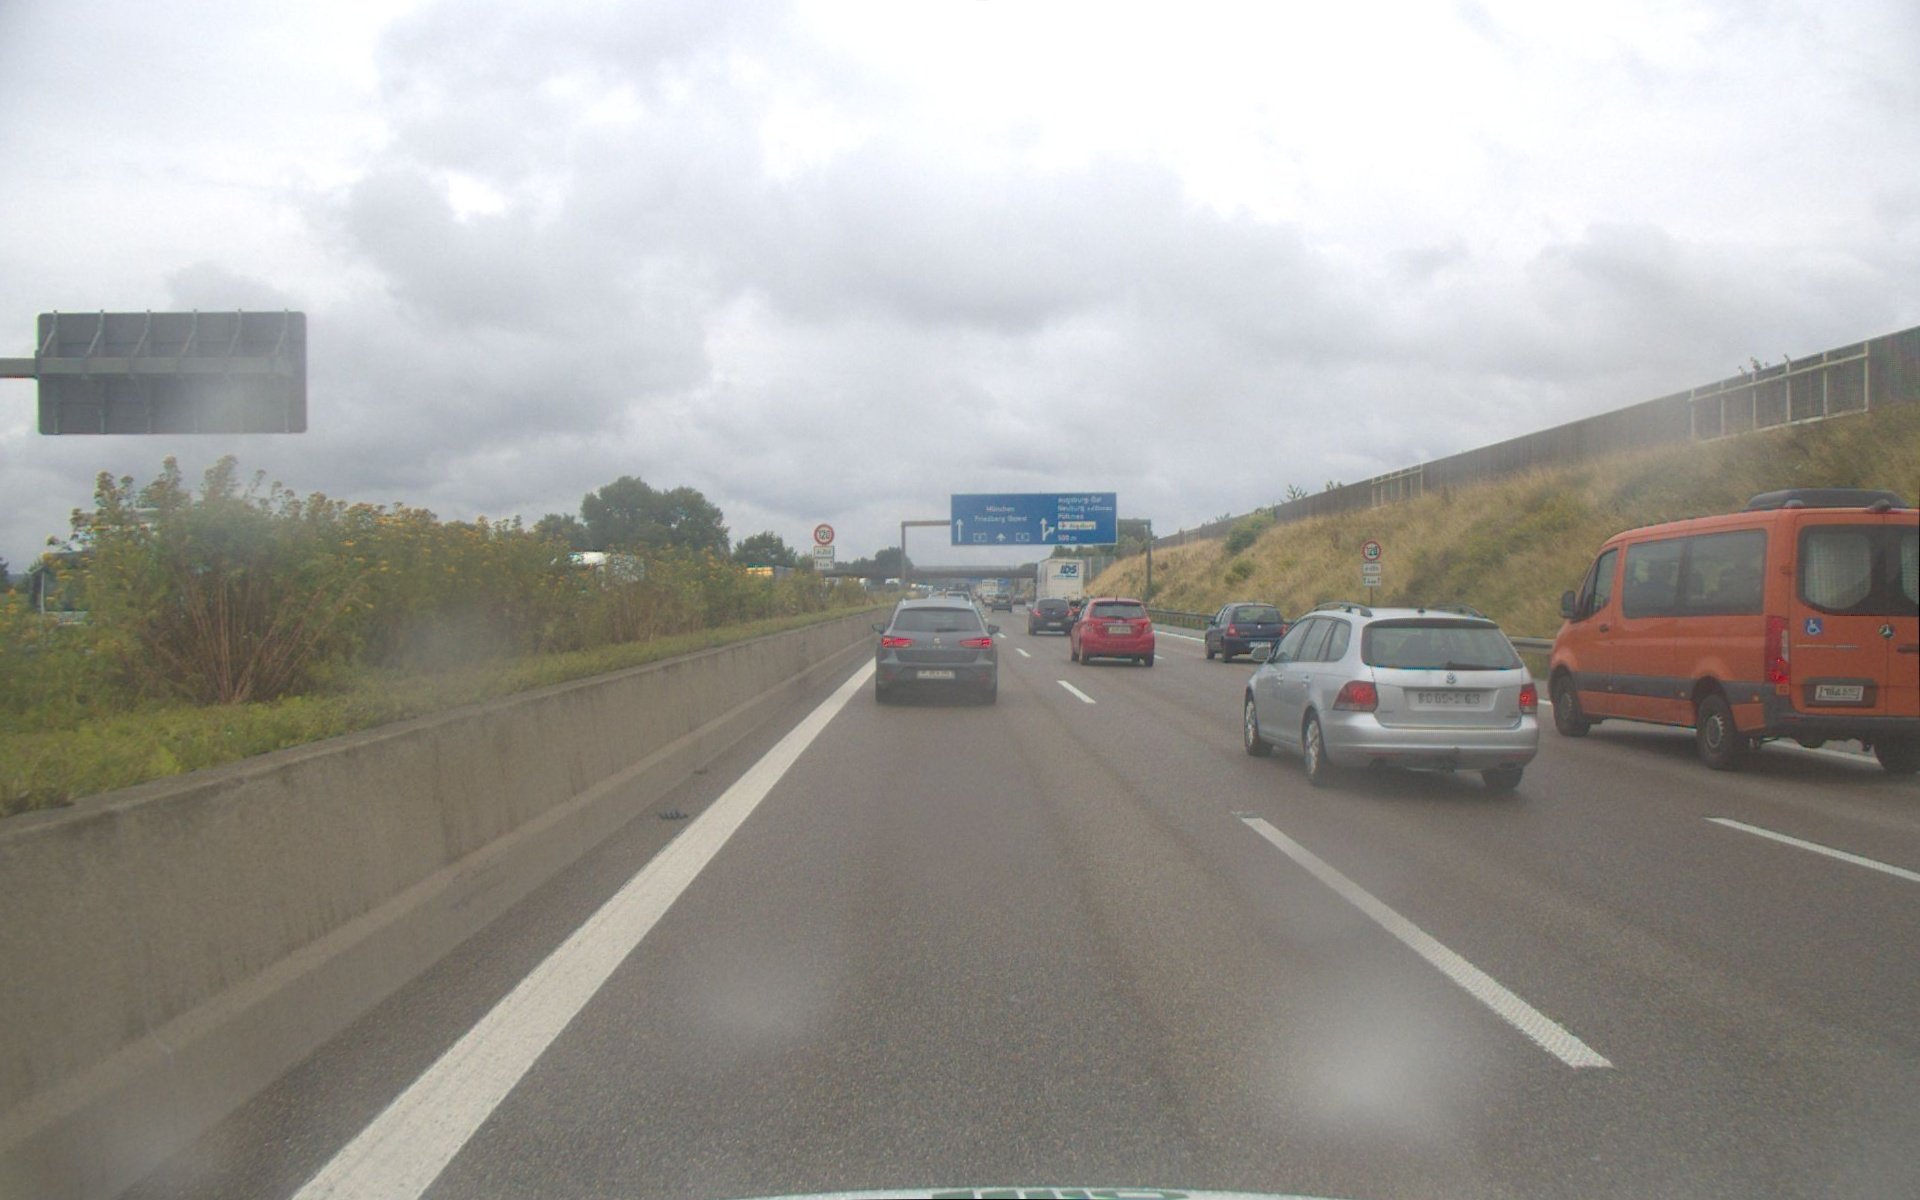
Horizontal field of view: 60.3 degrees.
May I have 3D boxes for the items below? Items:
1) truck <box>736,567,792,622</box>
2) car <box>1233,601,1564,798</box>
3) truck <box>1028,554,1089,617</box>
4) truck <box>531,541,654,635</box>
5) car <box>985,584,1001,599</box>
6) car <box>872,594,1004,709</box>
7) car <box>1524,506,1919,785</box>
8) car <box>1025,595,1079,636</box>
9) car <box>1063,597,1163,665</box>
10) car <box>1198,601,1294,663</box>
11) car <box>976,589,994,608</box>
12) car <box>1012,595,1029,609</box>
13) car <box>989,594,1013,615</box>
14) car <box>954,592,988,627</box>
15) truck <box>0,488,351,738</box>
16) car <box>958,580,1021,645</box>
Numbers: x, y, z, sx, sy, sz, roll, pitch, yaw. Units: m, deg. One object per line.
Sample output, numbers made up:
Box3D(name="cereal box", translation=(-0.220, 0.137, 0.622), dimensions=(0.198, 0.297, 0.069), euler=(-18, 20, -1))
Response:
Box3D(name="truck", translation=(-16.714, -0.453, 141.635), dimensions=(3.342, 4.440, 10.990), euler=(1, 0, 0))
Box3D(name="car", translation=(3.661, 0.746, 14.658), dimensions=(1.706, 1.450, 4.516), euler=(0, 0, 0))
Box3D(name="truck", translation=(7.274, -0.973, 125.530), dimensions=(3.216, 4.370, 19.029), euler=(1, 0, -1))
Box3D(name="truck", translation=(-17.029, -0.501, 77.587), dimensions=(3.118, 4.036, 10.811), euler=(1, 0, 1))
Box3D(name="car", translation=(4.513, -1.189, 226.253), dimensions=(1.954, 2.049, 3.998), euler=(0, 0, -3))
Box3D(name="car", translation=(-0.329, 0.696, 24.039), dimensions=(1.732, 1.493, 3.999), euler=(1, 0, -1))
Box3D(name="car", translation=(7.967, 0.367, 17.104), dimensions=(2.043, 2.355, 6.180), euler=(0, 0, -1))
Box3D(name="car", translation=(3.607, 0.583, 65.438), dimensions=(1.882, 1.548, 4.622), euler=(0, 0, 0))
Box3D(name="car", translation=(3.494, 0.672, 38.617), dimensions=(1.852, 1.472, 4.684), euler=(0, 0, -1))
Box3D(name="car", translation=(7.035, 0.756, 41.004), dimensions=(1.667, 1.426, 3.875), euler=(1, 0, 0))
Box3D(name="car", translation=(2.740, -0.200, 184.780), dimensions=(1.952, 2.049, 4.241), euler=(1, 0, 0))
Box3D(name="car", translation=(8.078, 0.280, 222.835), dimensions=(1.953, 1.892, 4.389), euler=(0, 0, -2))
Box3D(name="car", translation=(3.444, 0.348, 138.562), dimensions=(1.808, 1.716, 3.999), euler=(1, 0, -2))
Box3D(name="car", translation=(0.564, 0.484, 89.741), dimensions=(1.670, 1.828, 3.854), euler=(-2, 0, -1))
Box3D(name="truck", translation=(-16.887, 0.271, 36.629), dimensions=(3.159, 4.731, 9.672), euler=(1, 0, 0))
Box3D(name="car", translation=(0.824, 0.354, 48.036), dimensions=(1.718, 1.780, 3.999), euler=(1, 0, 0))
